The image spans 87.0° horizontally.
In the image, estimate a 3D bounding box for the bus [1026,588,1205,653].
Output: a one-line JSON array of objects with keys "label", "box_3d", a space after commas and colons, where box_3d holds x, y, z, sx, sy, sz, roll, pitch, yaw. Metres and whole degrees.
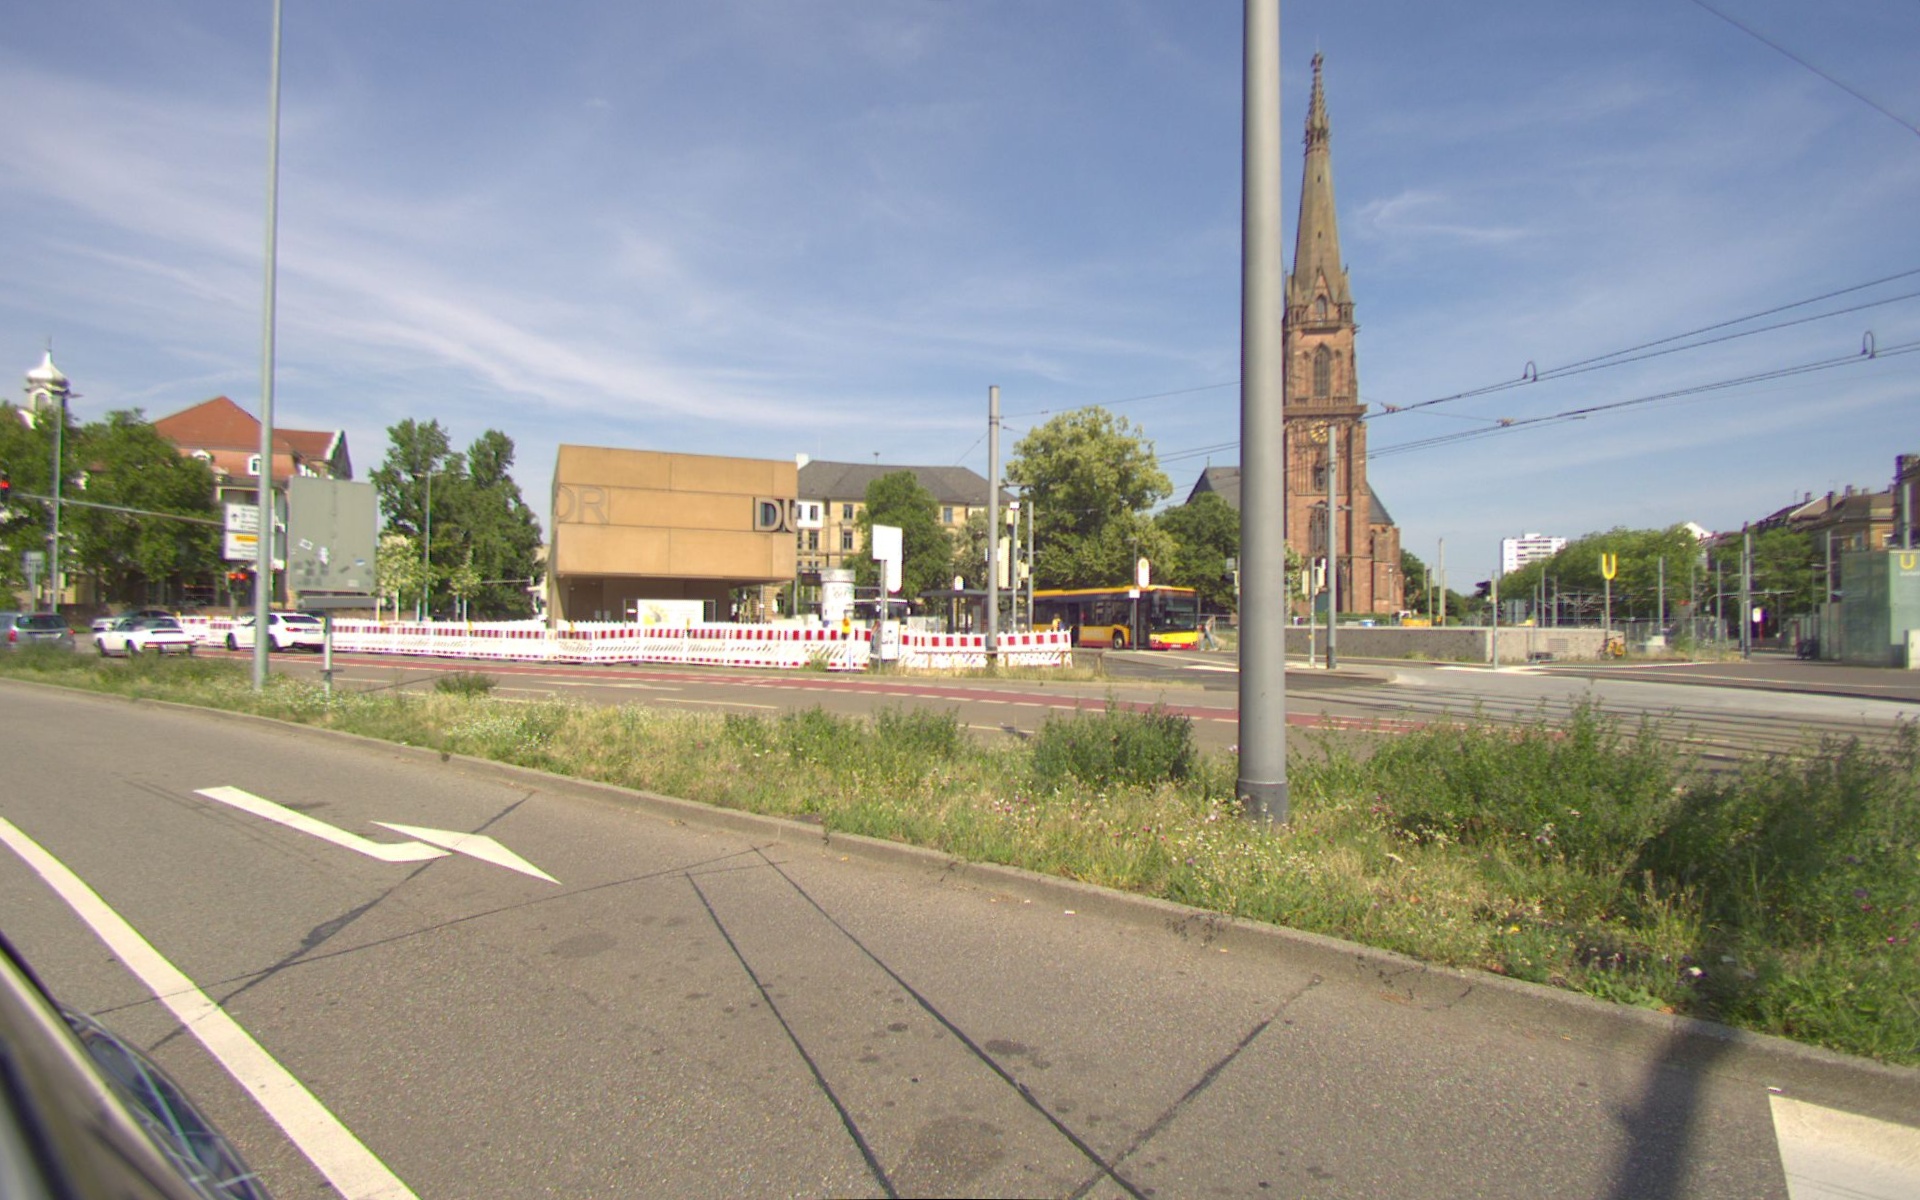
[{"label": "bus", "box_3d": [7.026, 0.842, 48.560, 2.710, 2.703, 11.828, -1, 0, -22]}]

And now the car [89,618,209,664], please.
[{"label": "car", "box_3d": [-25.631, 1.264, 31.959, 3.983, 1.296, 1.584, 0, 0, 29]}]

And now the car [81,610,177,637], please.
[{"label": "car", "box_3d": [-47.943, 1.345, 58.486, 1.743, 1.454, 4.094, 0, 0, 15]}]

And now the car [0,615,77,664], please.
[{"label": "car", "box_3d": [-27.864, 1.129, 29.796, 3.983, 1.296, 1.584, 0, 0, 29]}]

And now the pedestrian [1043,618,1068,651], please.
[{"label": "pedestrian", "box_3d": [4.079, 1.451, 43.093, 0.911, 1.377, 0.532, 0, 0, 40]}]

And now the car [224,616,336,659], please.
[{"label": "car", "box_3d": [-24.675, 1.323, 36.717, 3.983, 1.431, 1.786, 0, 0, 29]}]

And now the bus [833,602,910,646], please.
[{"label": "bus", "box_3d": [-7.348, 1.960, 81.932, 2.710, 3.348, 11.827, 1, -2, -22]}]
